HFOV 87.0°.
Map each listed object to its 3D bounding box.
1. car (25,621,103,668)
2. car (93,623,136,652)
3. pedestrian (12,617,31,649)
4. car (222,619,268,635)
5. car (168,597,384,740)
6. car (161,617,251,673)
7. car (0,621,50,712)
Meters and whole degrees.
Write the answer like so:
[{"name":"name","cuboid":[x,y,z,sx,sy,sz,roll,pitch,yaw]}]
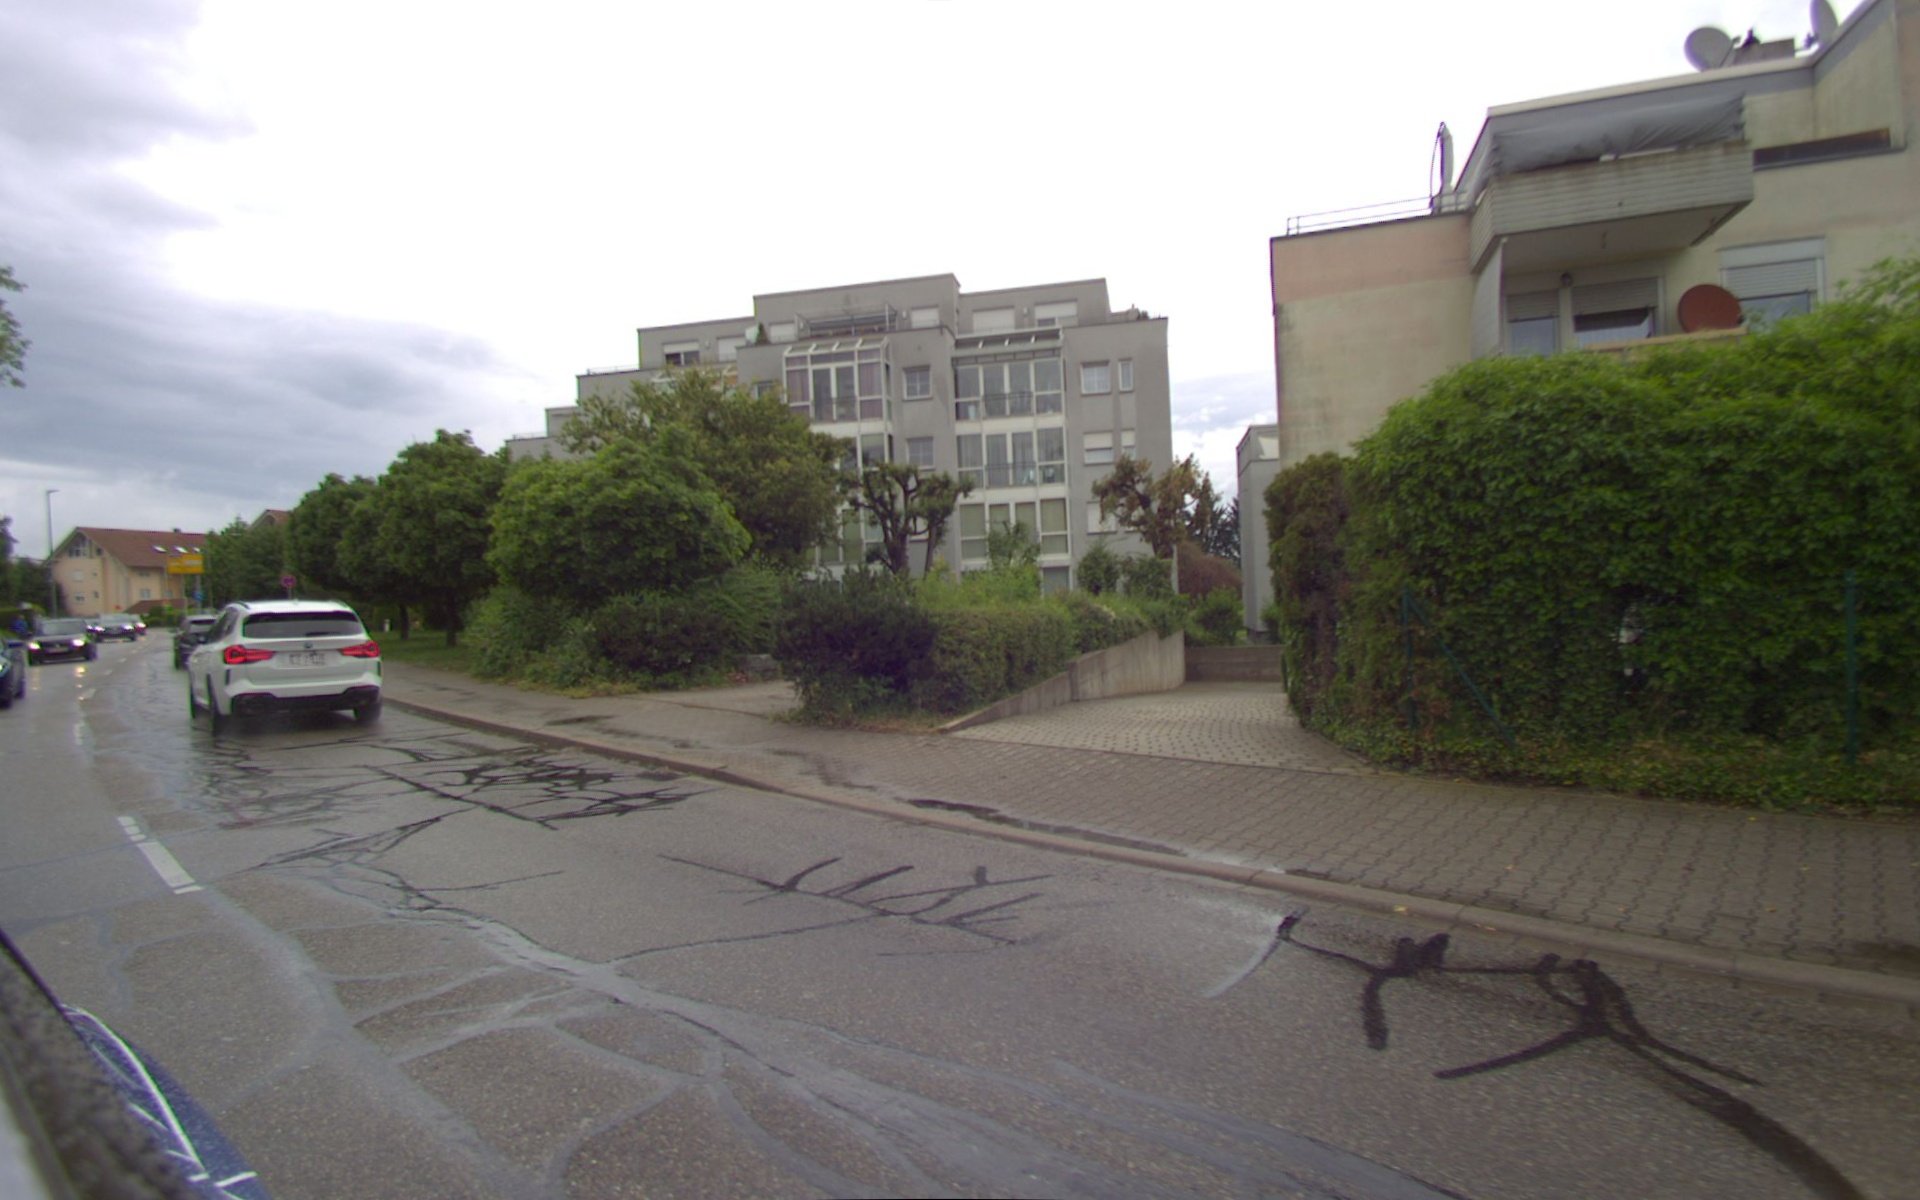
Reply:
[{"name":"car","cuboid":[-31.608,1.518,35.799,1.813,1.459,4.008,-3,1,-38]},{"name":"car","cuboid":[-49.839,2.177,59.645,1.814,1.561,4.005,-3,1,-41]},{"name":"pedestrian","cuboid":[-50.369,1.765,54.322,0.774,1.679,0.584,-2,0,36]},{"name":"car","cuboid":[-74.585,2.813,105.580,3.958,1.613,1.732,-2,0,12]},{"name":"car","cuboid":[-9.916,0.849,14.484,1.868,1.623,4.871,-3,1,-42]},{"name":"car","cuboid":[-21.548,1.237,28.861,1.719,1.425,4.148,-2,1,-41]},{"name":"car","cuboid":[-17.477,1.116,17.573,1.882,1.444,4.312,-1,0,-34]}]
